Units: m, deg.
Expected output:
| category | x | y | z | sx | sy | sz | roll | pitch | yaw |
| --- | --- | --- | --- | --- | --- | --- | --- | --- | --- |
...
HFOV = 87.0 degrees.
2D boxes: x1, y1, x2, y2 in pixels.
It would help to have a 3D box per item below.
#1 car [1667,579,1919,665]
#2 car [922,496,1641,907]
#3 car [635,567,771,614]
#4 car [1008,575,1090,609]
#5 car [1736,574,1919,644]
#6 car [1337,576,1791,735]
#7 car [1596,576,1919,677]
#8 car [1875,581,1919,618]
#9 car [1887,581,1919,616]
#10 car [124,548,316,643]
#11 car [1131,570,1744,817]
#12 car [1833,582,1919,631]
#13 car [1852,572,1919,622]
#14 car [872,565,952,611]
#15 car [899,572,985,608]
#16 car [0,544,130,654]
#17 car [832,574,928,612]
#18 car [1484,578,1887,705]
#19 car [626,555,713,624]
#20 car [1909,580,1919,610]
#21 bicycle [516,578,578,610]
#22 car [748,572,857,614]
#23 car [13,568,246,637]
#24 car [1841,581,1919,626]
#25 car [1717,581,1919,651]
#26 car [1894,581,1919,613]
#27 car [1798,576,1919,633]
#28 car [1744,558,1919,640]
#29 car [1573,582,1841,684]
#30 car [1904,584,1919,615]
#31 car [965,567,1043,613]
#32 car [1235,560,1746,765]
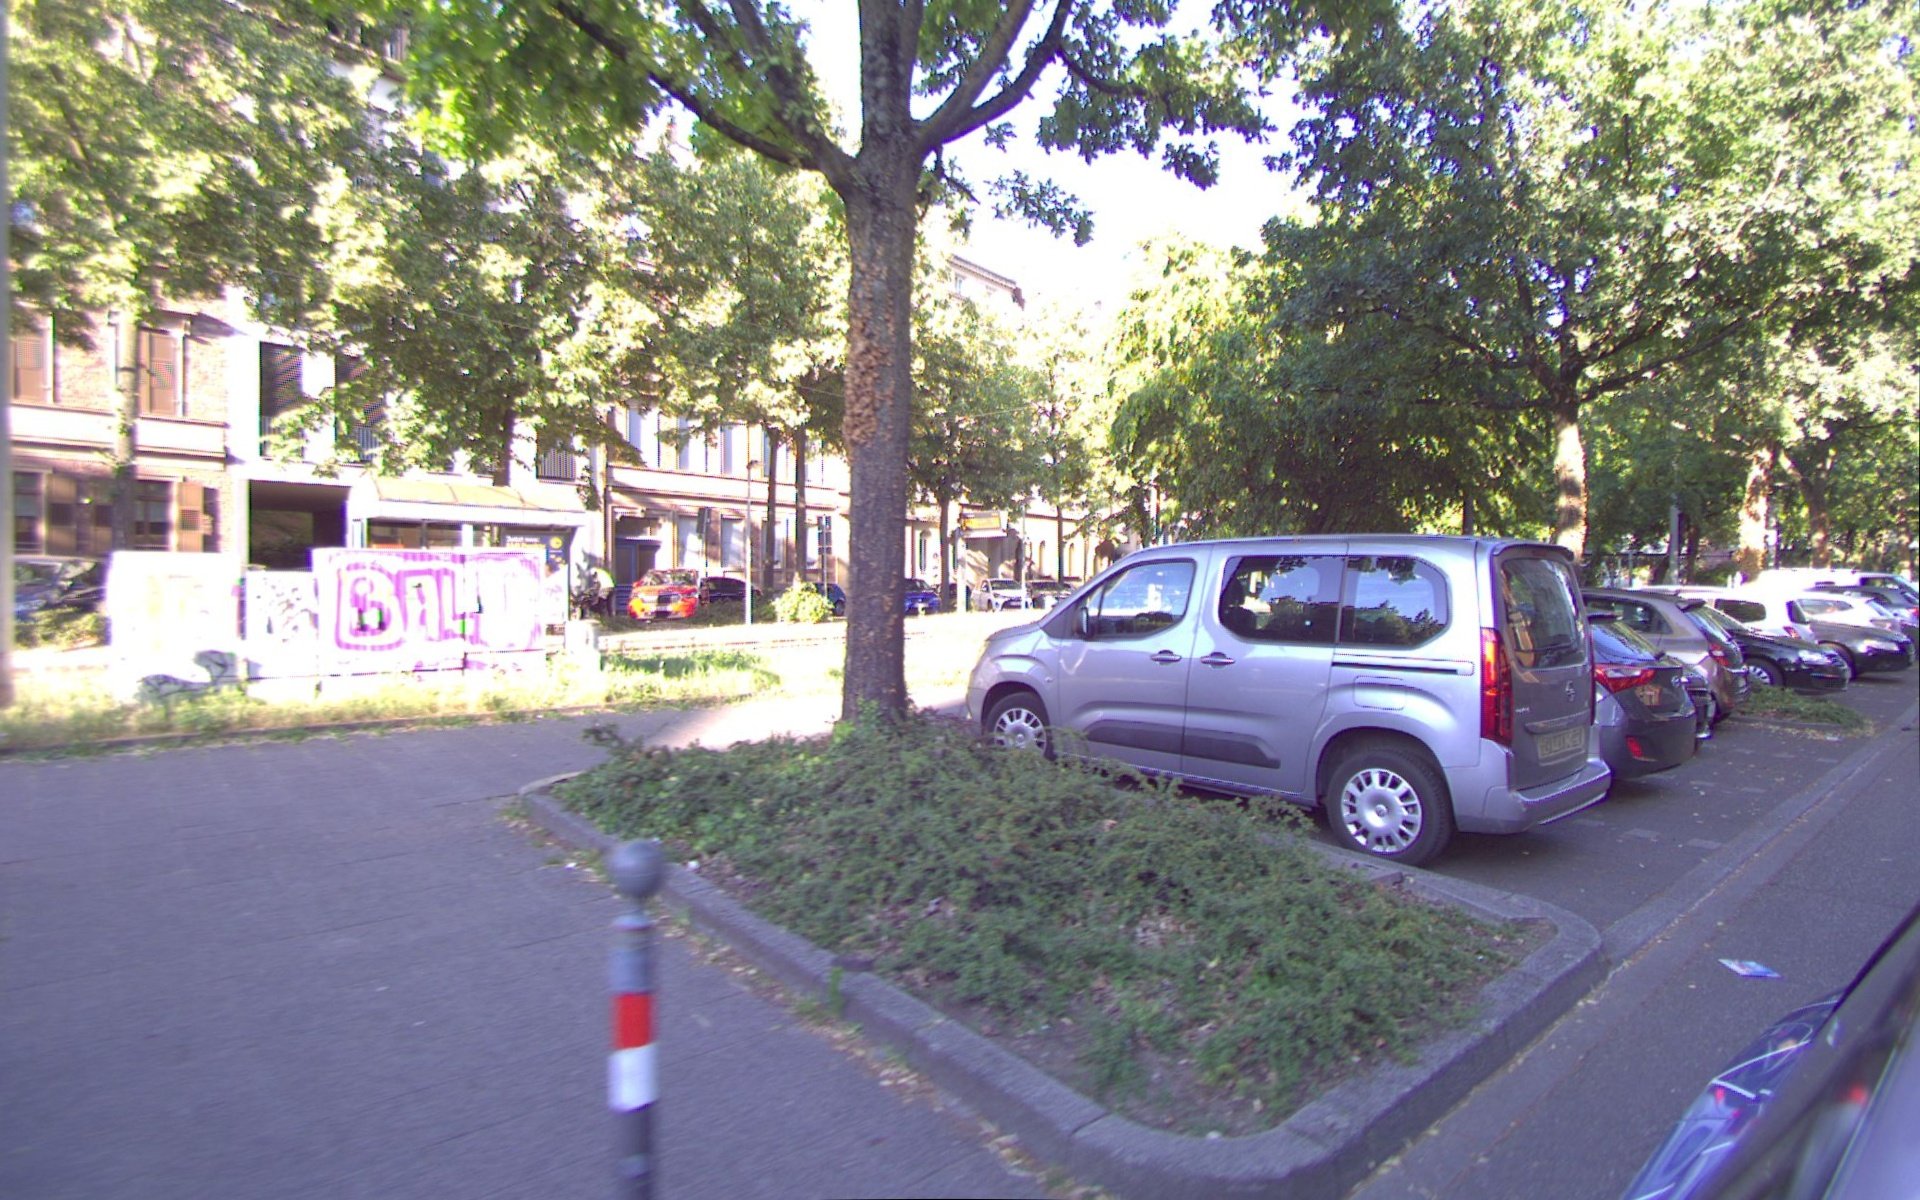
| category | x | y | z | sx | sy | sz | roll | pitch | yaw |
| --- | --- | --- | --- | --- | --- | --- | --- | --- | --- |
| car | 16.850 | 0.364 | 20.379 | 1.655 | 1.479 | 3.995 | 0 | 2 | -41 |
| car | 1.854 | 0.404 | 7.141 | 1.915 | 1.938 | 4.549 | -2 | 2 | -39 |
| car | -9.275 | -0.370 | 36.794 | 1.991 | 1.587 | 4.528 | 2 | 2 | 39 |
| car | 3.638 | -0.359 | 42.203 | 1.771 | 1.294 | 4.292 | 0 | 2 | -20 |
| car | 22.116 | 0.179 | 25.361 | 1.736 | 1.599 | 3.992 | -1 | 2 | -43 |
| car | 7.359 | 0.510 | 12.773 | 1.915 | 1.592 | 4.549 | -2 | 2 | -39 |
| car | 14.806 | 0.365 | 18.794 | 1.964 | 1.592 | 4.712 | -2 | 2 | -39 |
| car | 40.480 | 0.001 | 41.660 | 1.655 | 1.507 | 3.995 | 0 | 2 | -41 |
| car | 42.507 | -0.035 | 43.300 | 1.655 | 1.507 | 3.995 | 0 | 2 | -41 |
| car | -14.488 | -0.155 | 20.128 | 1.889 | 1.655 | 4.563 | 0 | 2 | -20 |
| car | 3.869 | 0.540 | 8.957 | 1.915 | 1.592 | 4.549 | -2 | 2 | -39 |
| car | 31.252 | 0.221 | 33.021 | 1.655 | 1.507 | 3.995 | 0 | 2 | -41 |
| car | 36.434 | -0.099 | 38.147 | 1.655 | 1.855 | 3.995 | 0 | 2 | -41 |
| car | -1.752 | -0.459 | 35.398 | 1.771 | 1.505 | 4.292 | 0 | 2 | -17 |
| car | -0.793 | -0.507 | 48.151 | 1.988 | 1.587 | 4.188 | 2 | 2 | 36 |
| car | -16.238 | -0.026 | 17.502 | 1.706 | 1.709 | 4.428 | 0 | 0 | -22 |
| car | -3.498 | -0.342 | 44.763 | 1.988 | 1.587 | 4.188 | 2 | 2 | 36 |
| car | 10.935 | 0.490 | 15.593 | 1.964 | 1.592 | 4.712 | -2 | 2 | -39 |
| car | -7.952 | -0.334 | 28.057 | 1.889 | 1.743 | 4.562 | 1 | 2 | -11 |
| car | 51.353 | -0.215 | 51.607 | 1.655 | 1.541 | 4.128 | 0 | 2 | -41 |
| bicycle | -14.929 | -0.216 | 36.630 | 2.053 | 1.130 | 0.684 | 0 | 1 | -22 |
| car | -6.318 | -0.316 | 40.924 | 1.988 | 1.587 | 4.188 | 2 | 2 | 36 |
| car | -19.753 | 0.046 | 24.203 | 1.734 | 1.508 | 4.103 | -2 | -1 | 41 |
| car | 33.195 | 0.132 | 34.948 | 1.655 | 1.507 | 3.995 | 0 | 2 | -41 |
| car | 20.460 | 0.318 | 23.796 | 1.655 | 1.441 | 3.995 | 0 | 2 | -41 |
| car | 46.289 | -0.103 | 47.092 | 1.655 | 1.507 | 3.995 | 0 | 2 | -41 |
| car | 27.411 | 0.125 | 29.781 | 1.655 | 1.573 | 3.995 | 0 | 2 | -41 |
| car | 24.181 | -0.074 | 26.961 | 2.117 | 2.063 | 4.854 | 0 | 2 | -41 |
| car | 12.751 | 0.486 | 17.416 | 1.688 | 1.533 | 3.407 | 0 | 1 | -39 |
| car | 44.157 | 0.009 | 44.304 | 1.655 | 1.355 | 3.995 | 0 | 2 | -41 |
| car | 1.689 | -0.429 | 40.488 | 1.771 | 1.716 | 4.292 | 0 | 2 | -17 |
| car | 5.381 | 0.454 | 10.671 | 4.435 | 1.712 | 1.920 | 1 | 2 | 44 |
